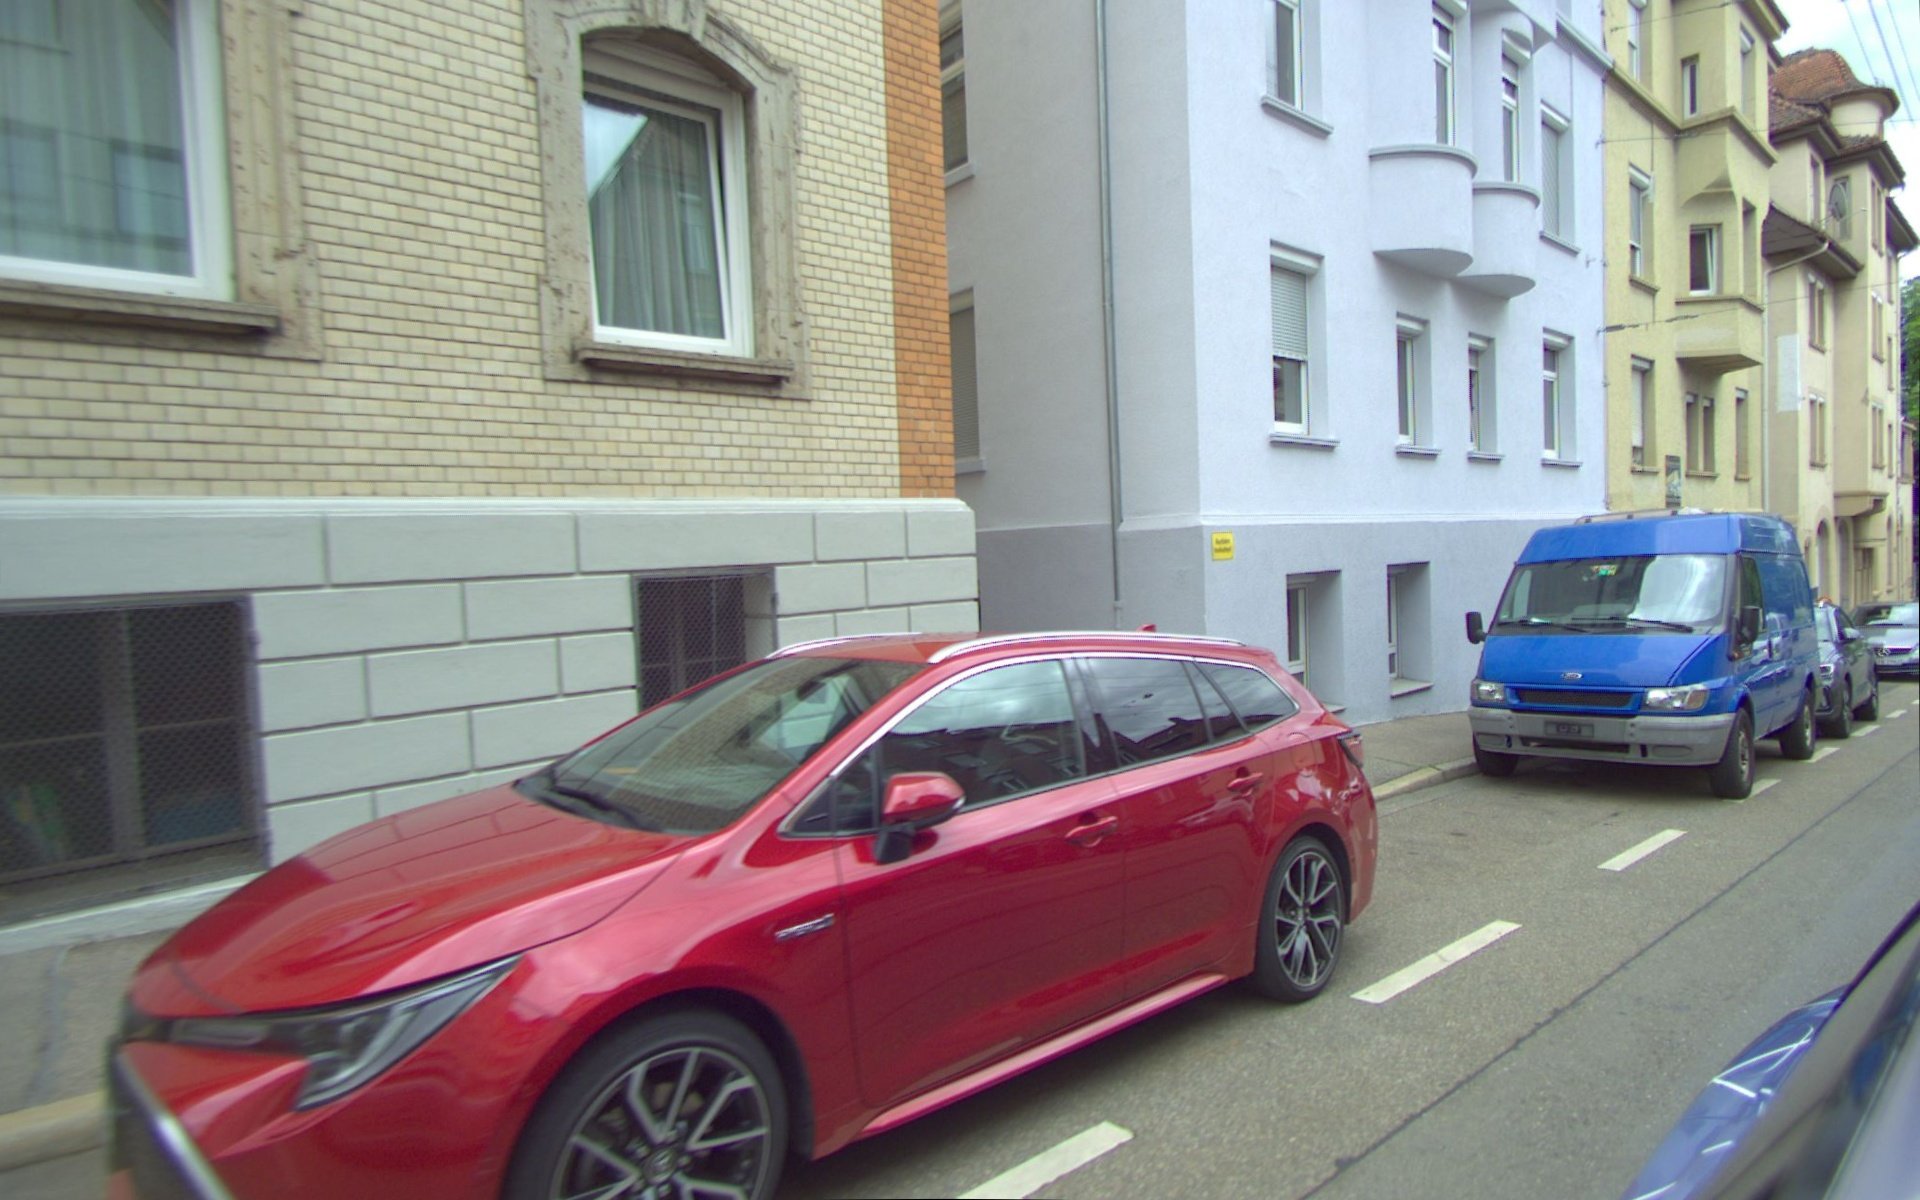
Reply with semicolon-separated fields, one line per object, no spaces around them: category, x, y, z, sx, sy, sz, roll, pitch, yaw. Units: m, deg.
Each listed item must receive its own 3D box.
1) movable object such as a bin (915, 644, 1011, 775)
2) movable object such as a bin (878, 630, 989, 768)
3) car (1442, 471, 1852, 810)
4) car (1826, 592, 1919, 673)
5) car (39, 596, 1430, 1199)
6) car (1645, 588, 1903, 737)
movable object such as a bin;0.022;0.848;8.012;0.531;0.952;0.448;-3;-2;-41
movable object such as a bin;-0.219;0.811;8.487;0.739;1.048;0.461;-3;-1;-41
car;6.671;0.245;9.566;4.968;2.406;1.997;-1;1;-41
car;19.328;0.625;20.674;3.956;1.538;1.830;0;-2;-40
car;-0.231;0.776;3.650;4.509;1.494;1.782;-1;-1;-41
car;10.245;0.677;12.627;4.120;1.550;1.781;-1;-3;-42
